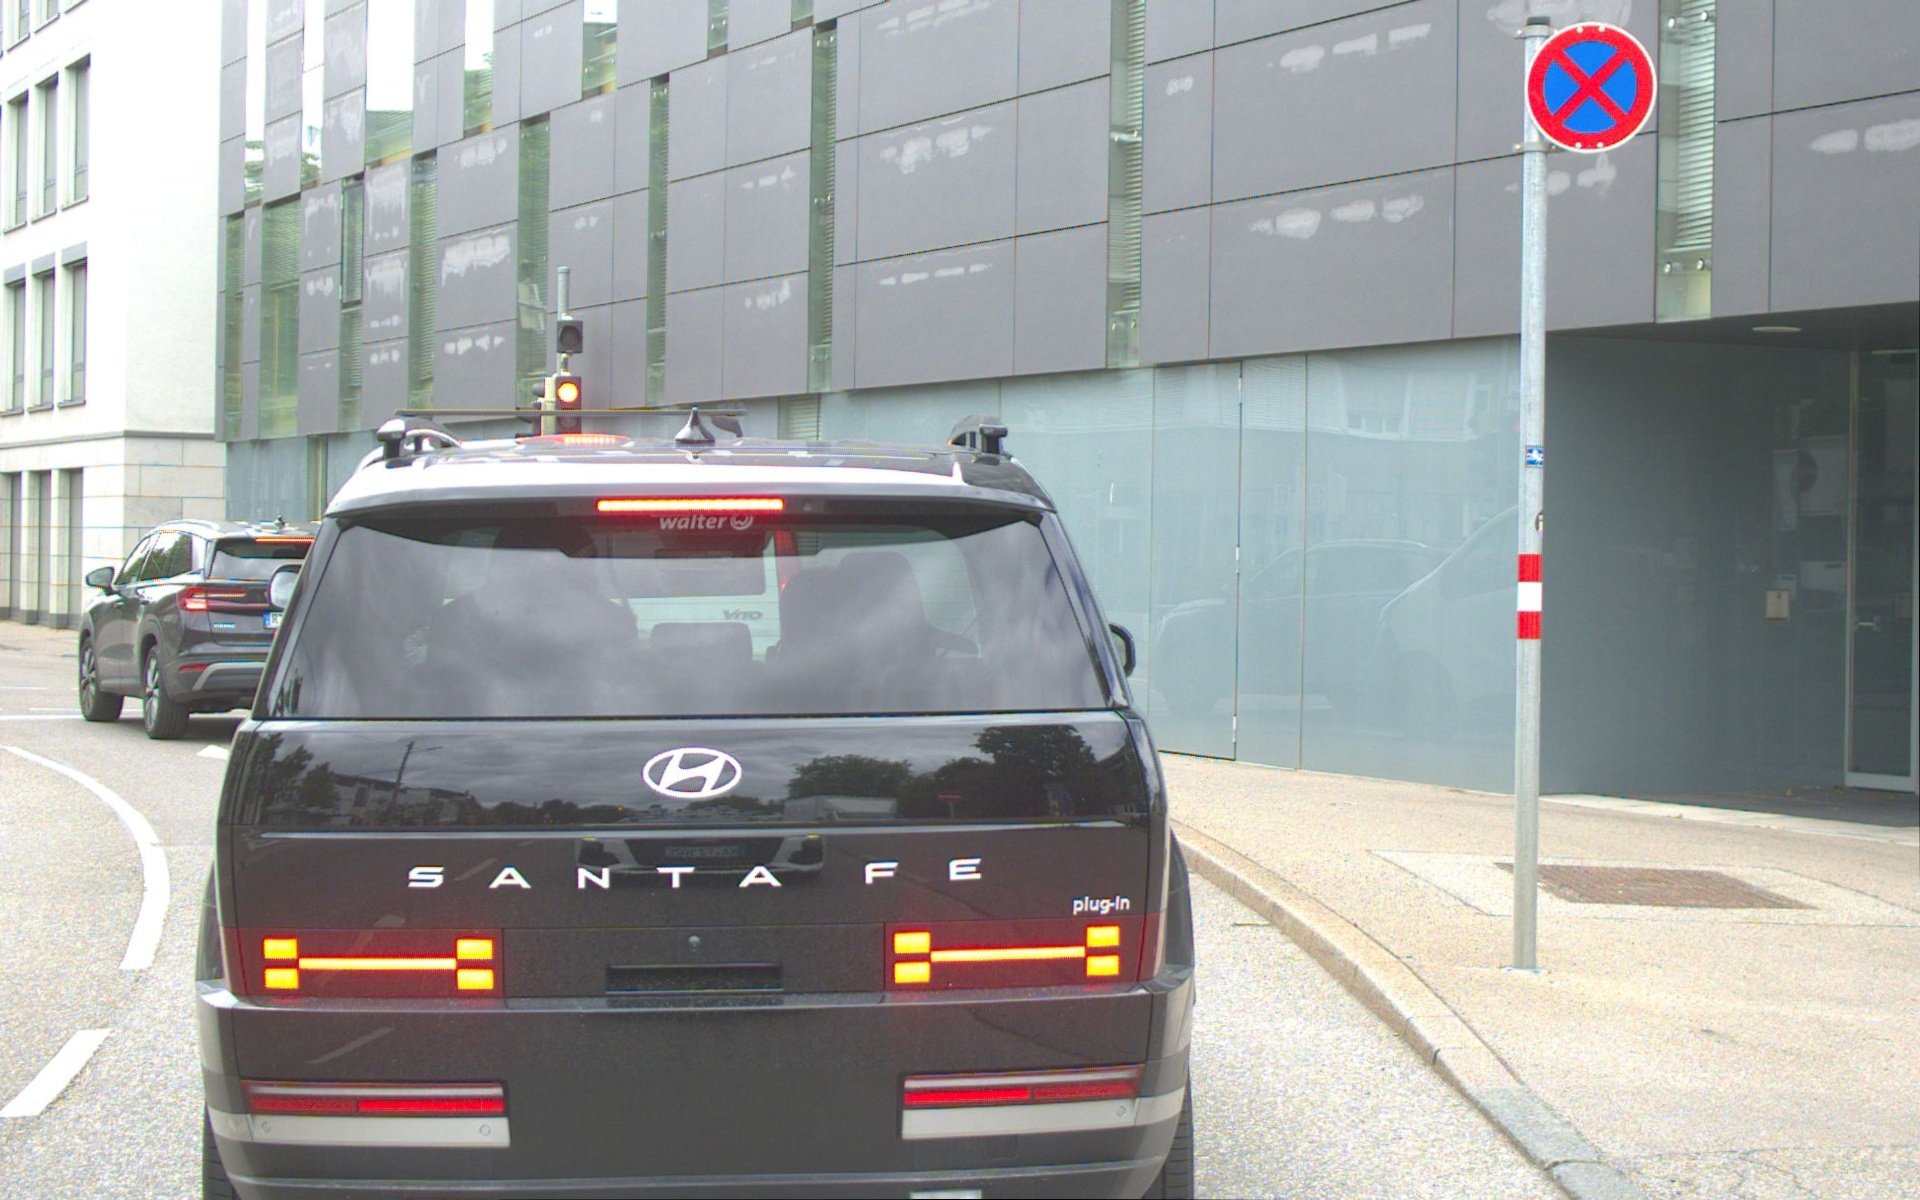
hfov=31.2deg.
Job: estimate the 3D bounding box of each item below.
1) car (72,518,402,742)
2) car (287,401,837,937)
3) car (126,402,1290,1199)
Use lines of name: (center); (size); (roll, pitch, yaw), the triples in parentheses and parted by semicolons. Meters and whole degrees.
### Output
car: (-5.732, 0.178, 26.887); (1.759, 1.603, 4.189); (1, 1, -23)
car: (-1.917, 0.226, 15.153); (1.931, 1.987, 4.536); (1, 1, -12)
car: (-0.650, 0.513, 7.838); (1.908, 1.743, 4.398); (0, 1, -7)
